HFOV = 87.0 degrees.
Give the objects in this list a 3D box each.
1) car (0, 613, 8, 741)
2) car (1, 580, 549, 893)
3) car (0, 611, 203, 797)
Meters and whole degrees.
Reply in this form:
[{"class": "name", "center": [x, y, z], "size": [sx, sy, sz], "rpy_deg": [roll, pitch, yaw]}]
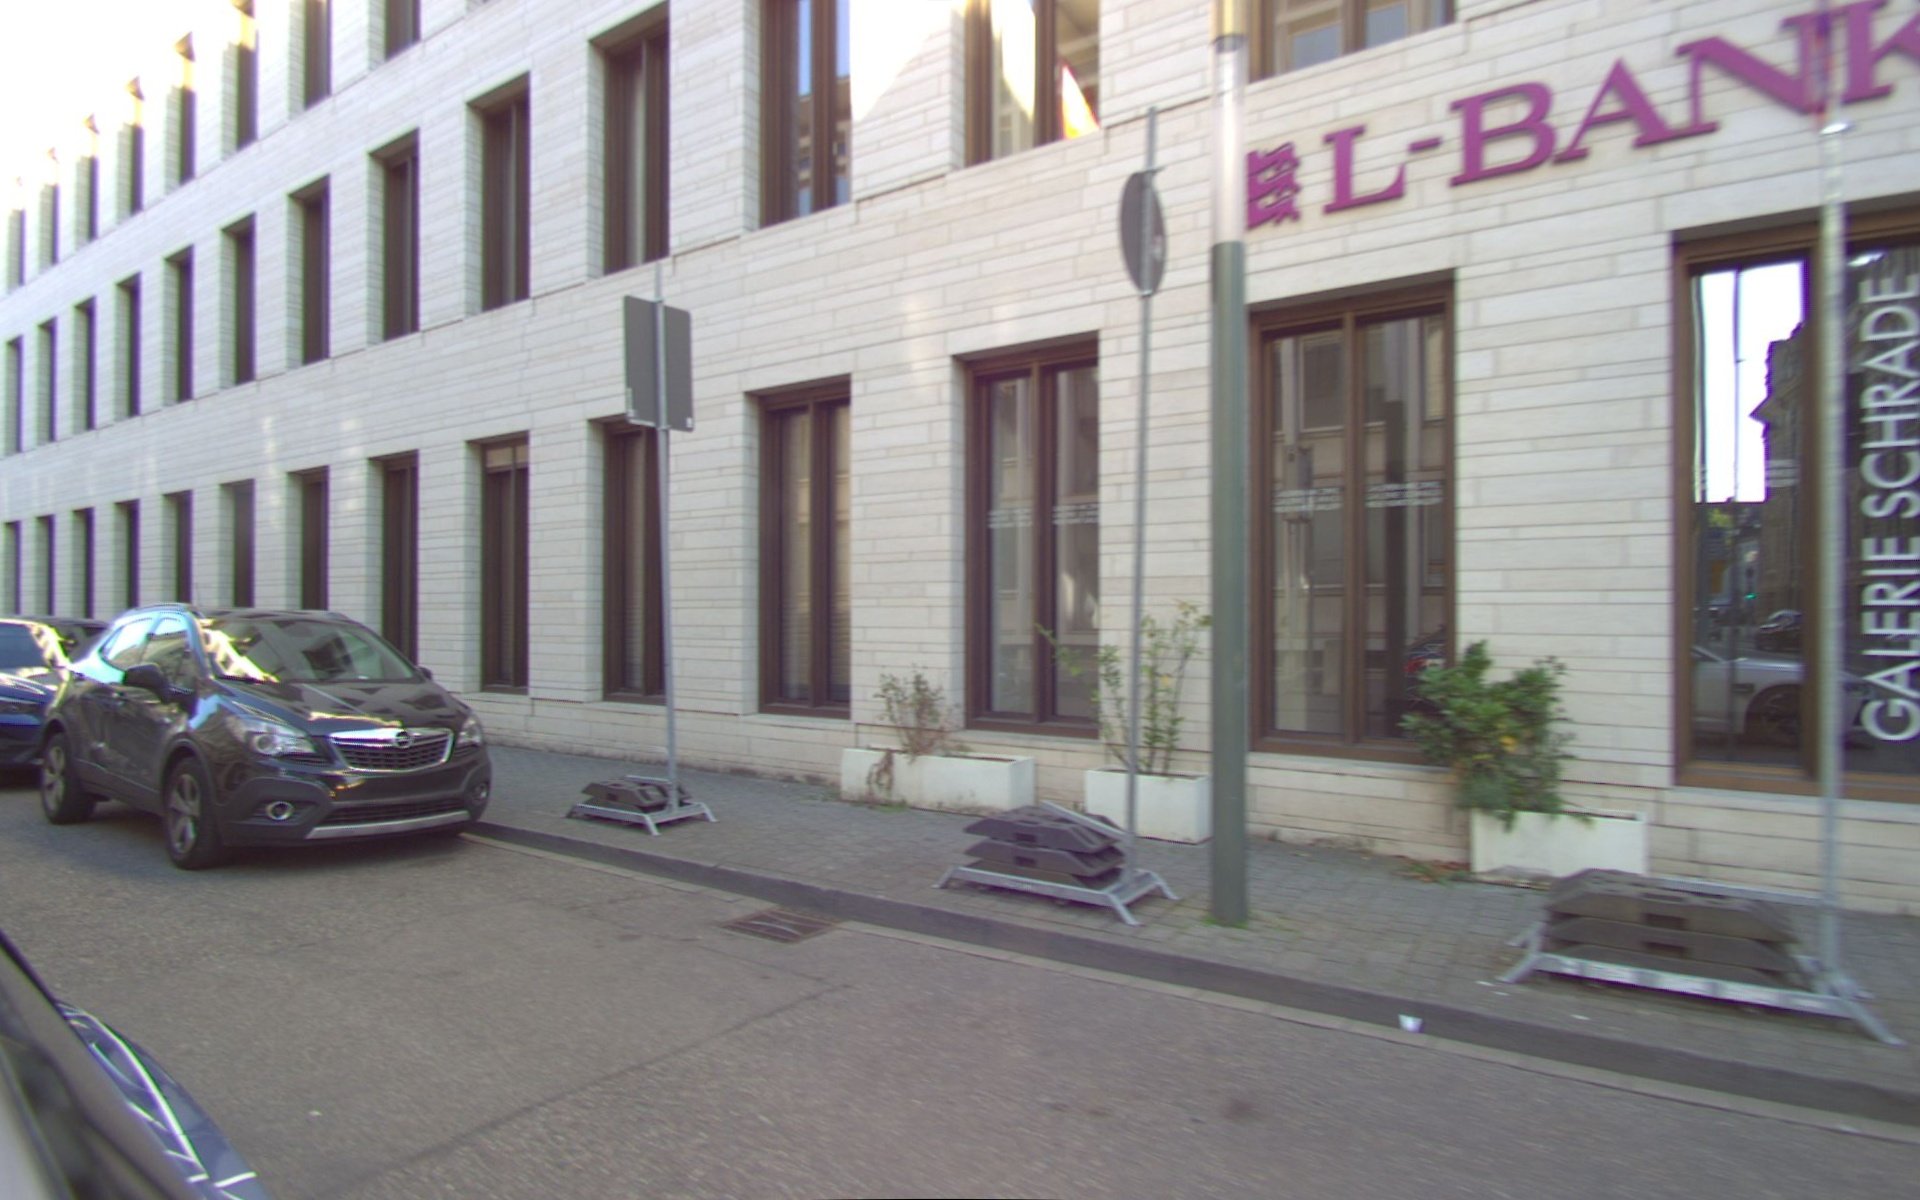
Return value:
[{"class": "car", "center": [-15.131, 1.034, 14.051], "size": [4.005, 1.728, 1.808], "rpy_deg": [-1, -4, 32]}, {"class": "car", "center": [-5.140, 0.827, 7.448], "size": [4.251, 1.690, 1.808], "rpy_deg": [-1, -4, 33]}, {"class": "car", "center": [-9.689, 0.975, 10.431], "size": [4.143, 1.607, 1.725], "rpy_deg": [-2, -4, 34]}]
